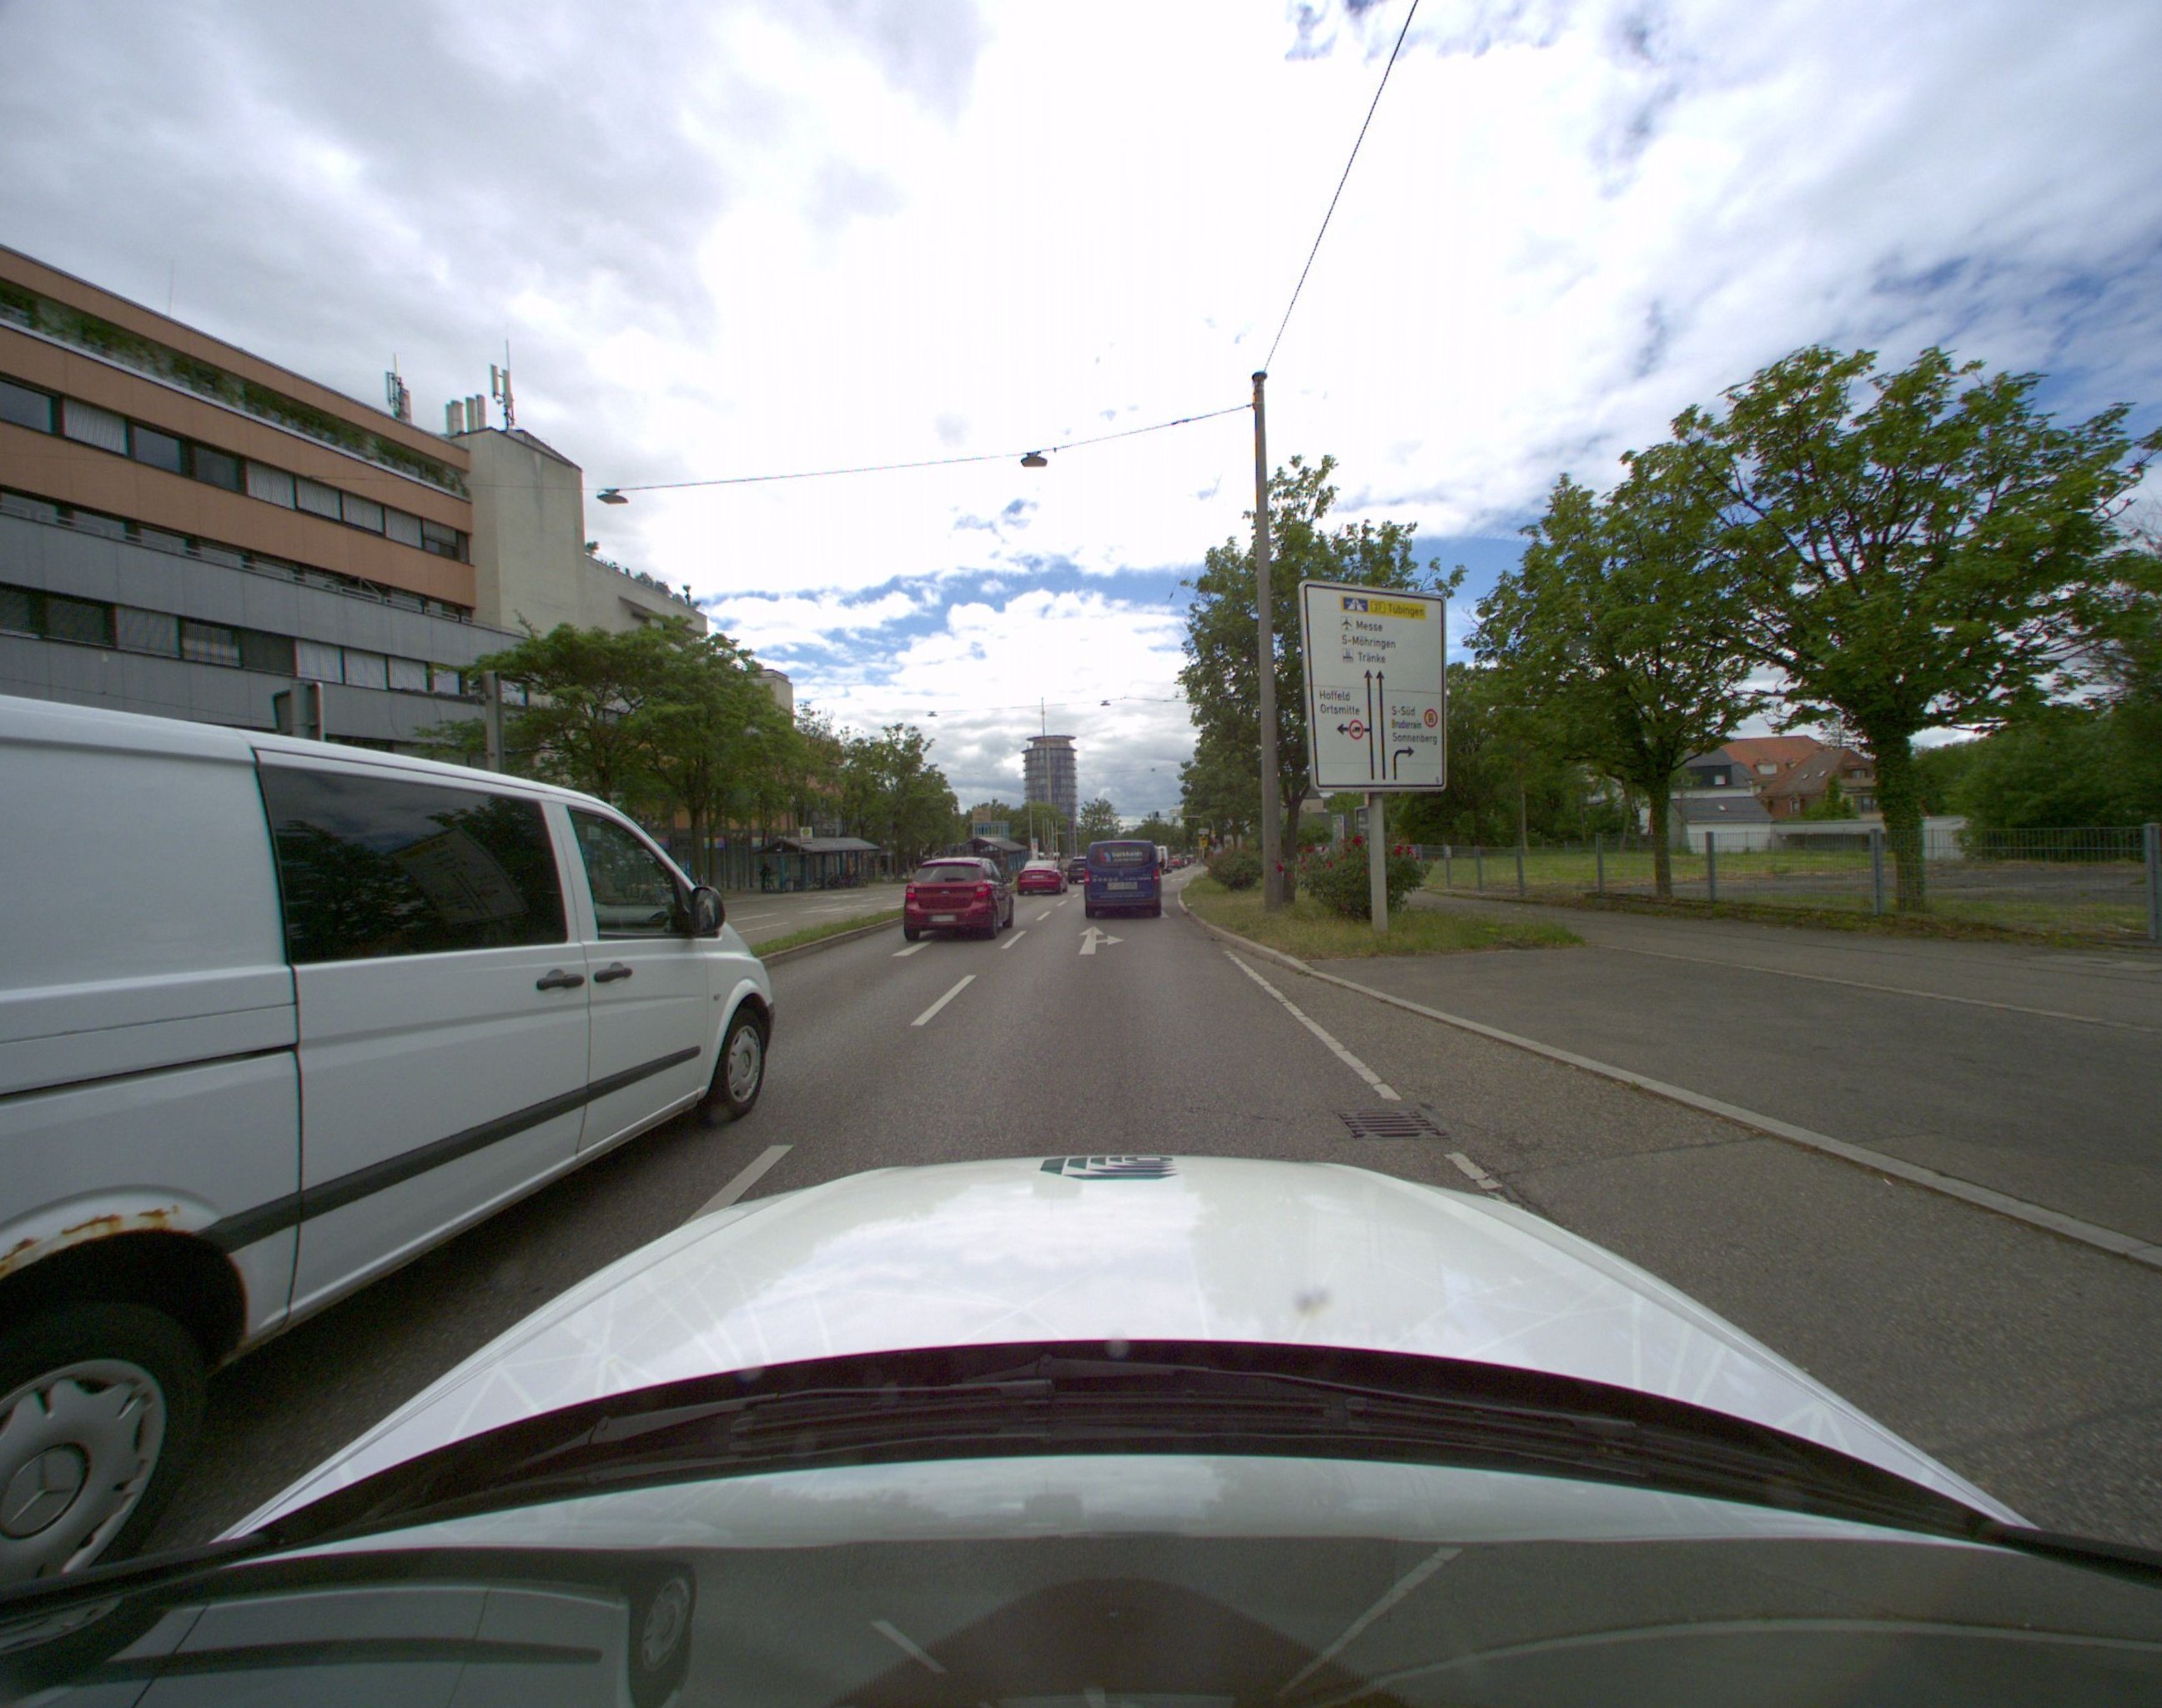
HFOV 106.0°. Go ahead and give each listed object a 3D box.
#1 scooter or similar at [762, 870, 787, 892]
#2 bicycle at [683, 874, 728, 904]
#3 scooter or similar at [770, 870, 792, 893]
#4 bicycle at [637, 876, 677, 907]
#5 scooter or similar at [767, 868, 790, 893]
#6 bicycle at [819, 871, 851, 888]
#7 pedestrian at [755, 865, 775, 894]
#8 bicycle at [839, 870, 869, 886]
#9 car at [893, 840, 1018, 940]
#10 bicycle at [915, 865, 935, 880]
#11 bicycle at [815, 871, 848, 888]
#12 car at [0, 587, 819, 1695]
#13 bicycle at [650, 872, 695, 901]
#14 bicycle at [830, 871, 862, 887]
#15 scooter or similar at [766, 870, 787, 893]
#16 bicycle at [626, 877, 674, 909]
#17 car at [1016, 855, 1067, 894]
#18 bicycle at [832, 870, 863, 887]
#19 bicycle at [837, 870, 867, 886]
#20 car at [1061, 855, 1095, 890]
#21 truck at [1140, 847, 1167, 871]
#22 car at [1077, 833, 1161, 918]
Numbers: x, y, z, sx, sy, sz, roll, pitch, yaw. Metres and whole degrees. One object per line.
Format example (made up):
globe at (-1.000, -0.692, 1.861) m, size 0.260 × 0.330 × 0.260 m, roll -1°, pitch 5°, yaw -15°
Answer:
scooter or similar at (-17.842, 1.555, 47.447) m, size 1.316 × 1.269 × 0.339 m, roll 0°, pitch -1°, yaw 2°
bicycle at (-16.909, 1.562, 36.719) m, size 0.619 × 1.253 × 1.694 m, roll -3°, pitch -1°, yaw 42°
scooter or similar at (-17.929, 1.617, 48.654) m, size 1.197 × 1.320 × 0.260 m, roll -2°, pitch -1°, yaw 2°
bicycle at (-18.688, 1.637, 35.913) m, size 0.427 × 1.253 × 1.479 m, roll -3°, pitch -1°, yaw 45°
scooter or similar at (-17.949, 1.558, 48.356) m, size 1.197 × 1.423 × 0.260 m, roll -2°, pitch -1°, yaw 2°
bicycle at (-17.365, 1.797, 57.451) m, size 2.062 × 1.153 × 0.710 m, roll 0°, pitch -1°, yaw -6°
pedestrian at (-20.299, 1.621, 52.299) m, size 0.729 × 1.781 × 0.999 m, roll -2°, pitch -1°, yaw 6°
bicycle at (-17.209, 1.835, 61.875) m, size 2.062 × 1.153 × 0.710 m, roll -1°, pitch -1°, yaw -6°
car at (-2.371, 0.646, 16.325) m, size 1.740 × 1.723 × 4.001 m, roll -1°, pitch -1°, yaw 1°
bicycle at (-13.696, 1.630, 71.369) m, size 1.046 × 1.271 × 2.429 m, roll 0°, pitch 0°, yaw 6°
bicycle at (-17.247, 1.748, 56.301) m, size 2.062 × 1.153 × 0.710 m, roll 1°, pitch -1°, yaw -6°
car at (-2.843, 0.487, 3.150) m, size 1.867 × 2.013 × 5.077 m, roll 2°, pitch 1°, yaw 1°
bicycle at (-18.773, 1.477, 37.453) m, size 0.619 × 1.253 × 1.694 m, roll -3°, pitch -1°, yaw 42°
bicycle at (-16.844, 1.796, 58.428) m, size 2.062 × 1.153 × 0.710 m, roll -1°, pitch -1°, yaw -6°
scooter or similar at (-17.877, 1.599, 47.809) m, size 1.123 × 1.295 × 0.268 m, roll -2°, pitch -1°, yaw 1°
bicycle at (-18.493, 1.658, 34.979) m, size 0.619 × 1.253 × 1.694 m, roll -3°, pitch 0°, yaw 43°
car at (-1.648, 0.894, 35.075) m, size 1.862 × 1.486 × 4.000 m, roll -2°, pitch -2°, yaw 1°
bicycle at (-17.136, 1.780, 59.837) m, size 2.062 × 1.153 × 0.710 m, roll -2°, pitch -1°, yaw -6°
bicycle at (-17.091, 1.797, 60.798) m, size 2.062 × 1.153 × 0.710 m, roll 1°, pitch -1°, yaw -6°
car at (-0.128, 1.076, 50.171) m, size 1.986 × 2.013 × 4.001 m, roll -1°, pitch 1°, yaw 1°
truck at (6.686, 0.435, 74.385) m, size 1.981 × 2.166 × 5.575 m, roll 0°, pitch 0°, yaw 10°
car at (1.016, 0.518, 21.366) m, size 1.939 × 1.965 × 4.545 m, roll -1°, pitch -1°, yaw 3°
